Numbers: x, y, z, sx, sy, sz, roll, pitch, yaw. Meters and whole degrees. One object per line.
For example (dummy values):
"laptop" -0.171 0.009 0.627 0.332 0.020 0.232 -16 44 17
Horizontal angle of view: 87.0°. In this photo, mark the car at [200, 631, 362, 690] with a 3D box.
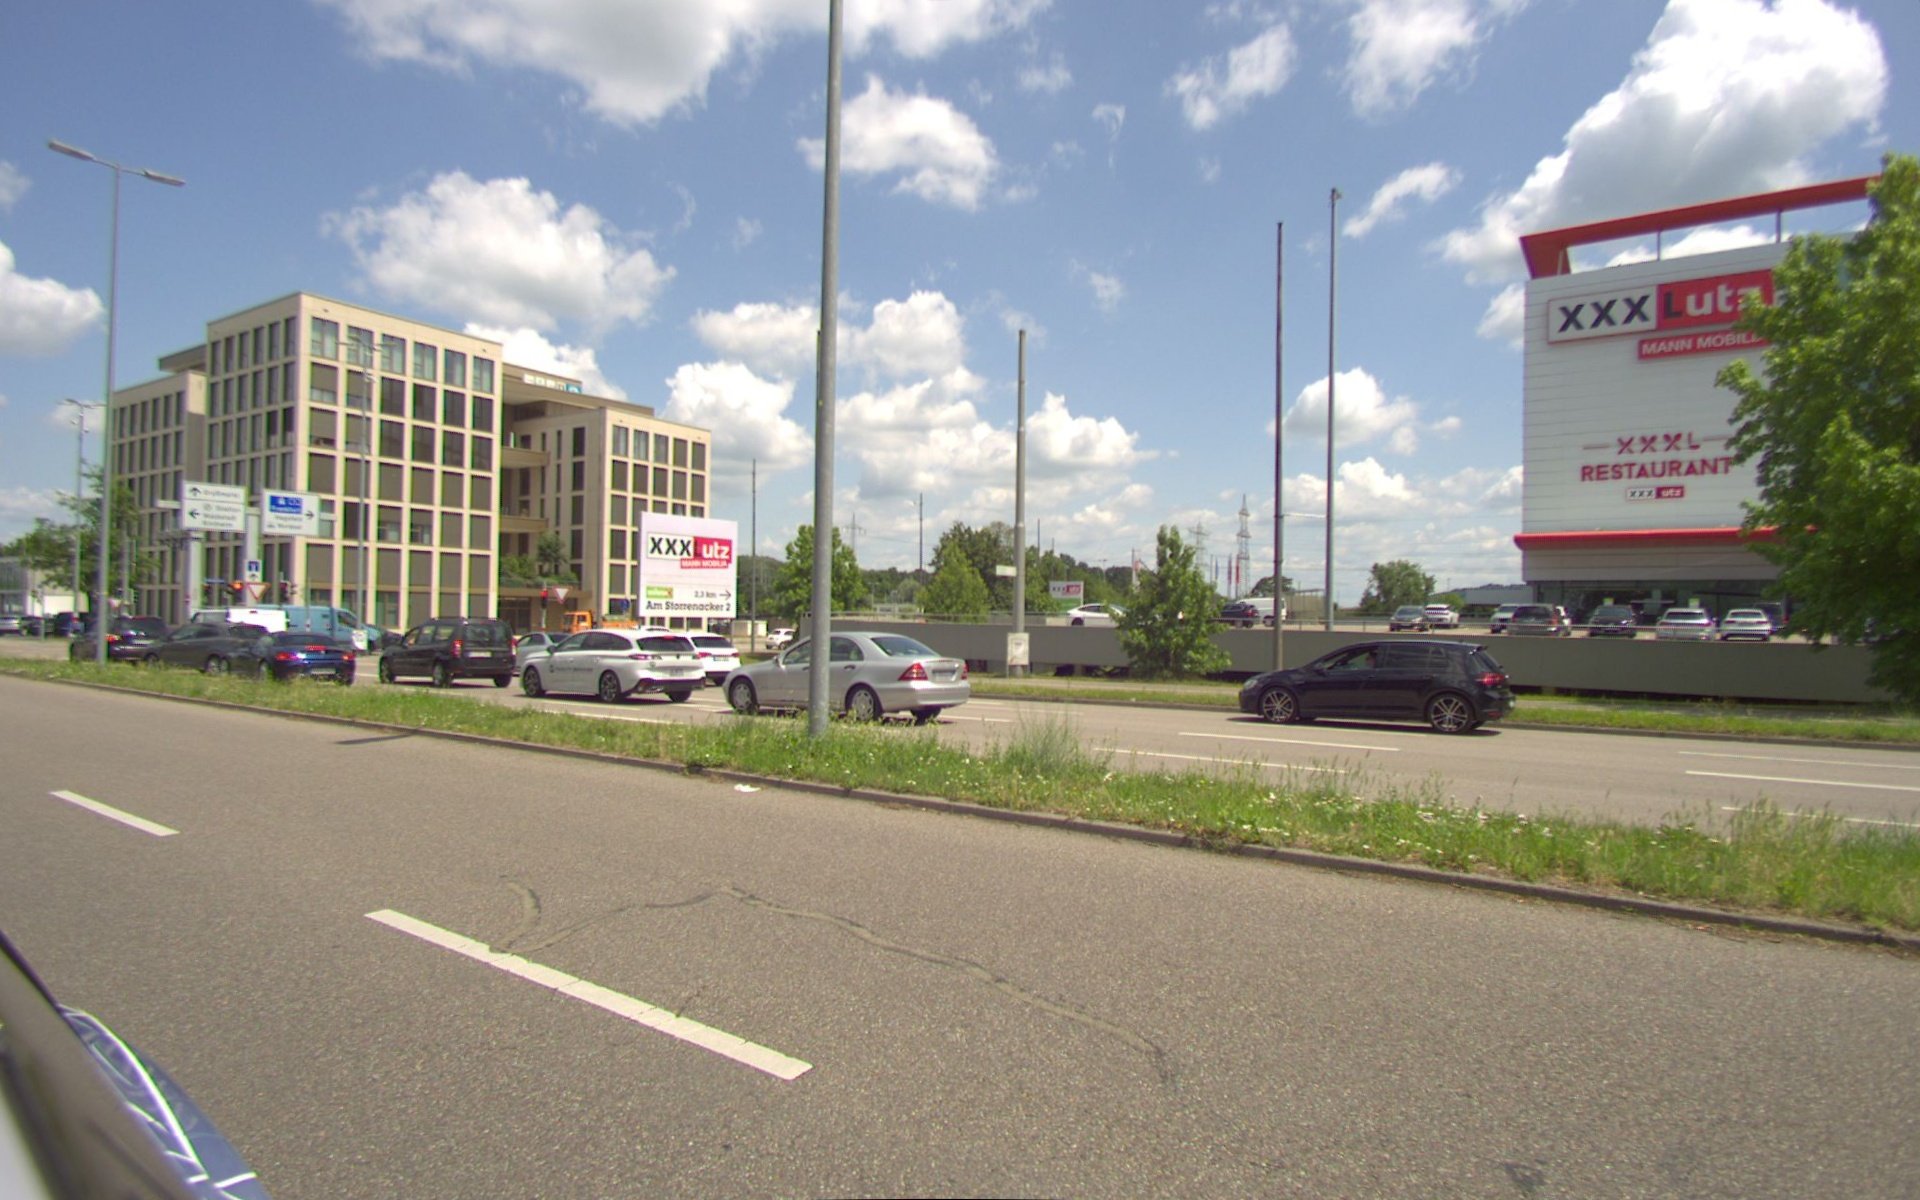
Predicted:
"car" -15.779 1.374 23.457 4.299 1.260 1.775 -2 -3 37

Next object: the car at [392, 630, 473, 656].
"car" -34.289 2.797 65.913 1.993 1.644 4.265 -1 -3 31

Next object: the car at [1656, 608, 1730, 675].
"car" 27.551 1.546 37.976 1.998 2.347 4.305 -1 -3 39

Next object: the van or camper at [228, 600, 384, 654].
"van or camper" -30.474 1.307 47.388 1.997 2.399 5.776 -2 -3 38

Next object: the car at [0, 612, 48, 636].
"car" -72.471 1.828 77.852 1.831 1.741 4.195 2 -2 -18

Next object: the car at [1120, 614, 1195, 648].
"car" 11.199 1.773 57.388 3.820 1.847 1.836 -1 -3 32

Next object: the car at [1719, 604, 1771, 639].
"car" 35.381 1.012 45.699 1.677 1.481 3.786 -1 -3 36

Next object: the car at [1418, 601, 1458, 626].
"car" 31.620 0.907 66.890 1.851 1.556 3.788 -1 -3 34

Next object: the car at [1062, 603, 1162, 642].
"car" 7.602 1.158 50.849 4.661 1.847 1.835 -1 -3 34

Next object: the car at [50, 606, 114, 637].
"car" -63.759 1.569 73.554 2.106 2.108 4.036 2 -2 -19

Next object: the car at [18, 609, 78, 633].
"car" -69.959 1.614 77.739 1.831 1.741 4.195 2 -2 -18

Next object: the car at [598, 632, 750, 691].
"car" -7.780 1.623 27.380 4.350 1.484 1.604 -2 -3 36

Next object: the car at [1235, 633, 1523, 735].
"car" 6.785 1.286 16.615 4.109 1.481 1.604 -1 -3 37

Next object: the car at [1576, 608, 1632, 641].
"car" 30.982 1.195 48.654 1.854 1.481 3.783 -2 -3 39

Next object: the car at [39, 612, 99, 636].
"car" -66.665 1.818 75.776 1.831 1.741 4.195 2 -2 -18

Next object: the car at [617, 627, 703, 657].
"car" -18.318 2.555 62.046 1.860 1.741 4.965 0 -2 36

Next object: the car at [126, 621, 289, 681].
"car" -20.893 1.411 28.127 3.738 1.572 1.787 -1 -3 18

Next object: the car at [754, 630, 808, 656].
"car" -13.030 3.127 73.797 1.858 1.741 3.718 2 0 33

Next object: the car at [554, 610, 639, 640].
"car" -31.497 2.238 87.797 2.850 2.347 6.451 -4 -5 38

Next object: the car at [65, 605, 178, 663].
"car" -25.526 1.063 30.768 4.164 1.657 1.774 -2 -3 38

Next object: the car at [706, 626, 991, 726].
"car" -1.912 1.186 16.550 4.665 1.429 1.775 -2 -4 36

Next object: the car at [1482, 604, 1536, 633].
"car" 29.961 1.018 55.198 1.854 1.481 3.782 -2 -3 40

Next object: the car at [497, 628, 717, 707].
"car" -7.223 1.330 20.515 4.836 1.413 1.775 -2 -4 36

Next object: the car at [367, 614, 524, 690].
"car" -12.799 1.276 25.096 4.219 1.714 1.775 -2 -3 37

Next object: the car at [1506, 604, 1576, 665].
"car" 23.738 1.427 41.304 1.996 2.347 4.309 -1 -2 36

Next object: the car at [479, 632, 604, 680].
"car" -13.250 1.751 31.908 4.577 1.402 1.603 -2 -3 38

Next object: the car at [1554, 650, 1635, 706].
"car" 20.005 2.393 31.841 1.846 1.608 3.950 -1 -3 37

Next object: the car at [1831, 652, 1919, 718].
"car" 25.008 2.241 27.398 1.846 1.608 3.950 -1 -3 37

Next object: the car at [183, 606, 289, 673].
"car" -23.680 1.291 33.058 3.571 2.059 1.839 -2 -3 38

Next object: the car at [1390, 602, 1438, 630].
"car" 26.017 0.940 57.962 1.589 1.481 3.782 -2 -3 40

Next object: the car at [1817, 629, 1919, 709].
"car" 28.808 2.115 32.043 1.994 2.347 4.313 -1 -2 33

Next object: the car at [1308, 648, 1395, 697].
"car" 14.031 2.535 36.180 1.915 1.608 3.950 -1 -3 37

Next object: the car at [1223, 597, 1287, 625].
"car" 20.168 0.780 69.233 3.822 1.847 1.835 -1 -3 34
